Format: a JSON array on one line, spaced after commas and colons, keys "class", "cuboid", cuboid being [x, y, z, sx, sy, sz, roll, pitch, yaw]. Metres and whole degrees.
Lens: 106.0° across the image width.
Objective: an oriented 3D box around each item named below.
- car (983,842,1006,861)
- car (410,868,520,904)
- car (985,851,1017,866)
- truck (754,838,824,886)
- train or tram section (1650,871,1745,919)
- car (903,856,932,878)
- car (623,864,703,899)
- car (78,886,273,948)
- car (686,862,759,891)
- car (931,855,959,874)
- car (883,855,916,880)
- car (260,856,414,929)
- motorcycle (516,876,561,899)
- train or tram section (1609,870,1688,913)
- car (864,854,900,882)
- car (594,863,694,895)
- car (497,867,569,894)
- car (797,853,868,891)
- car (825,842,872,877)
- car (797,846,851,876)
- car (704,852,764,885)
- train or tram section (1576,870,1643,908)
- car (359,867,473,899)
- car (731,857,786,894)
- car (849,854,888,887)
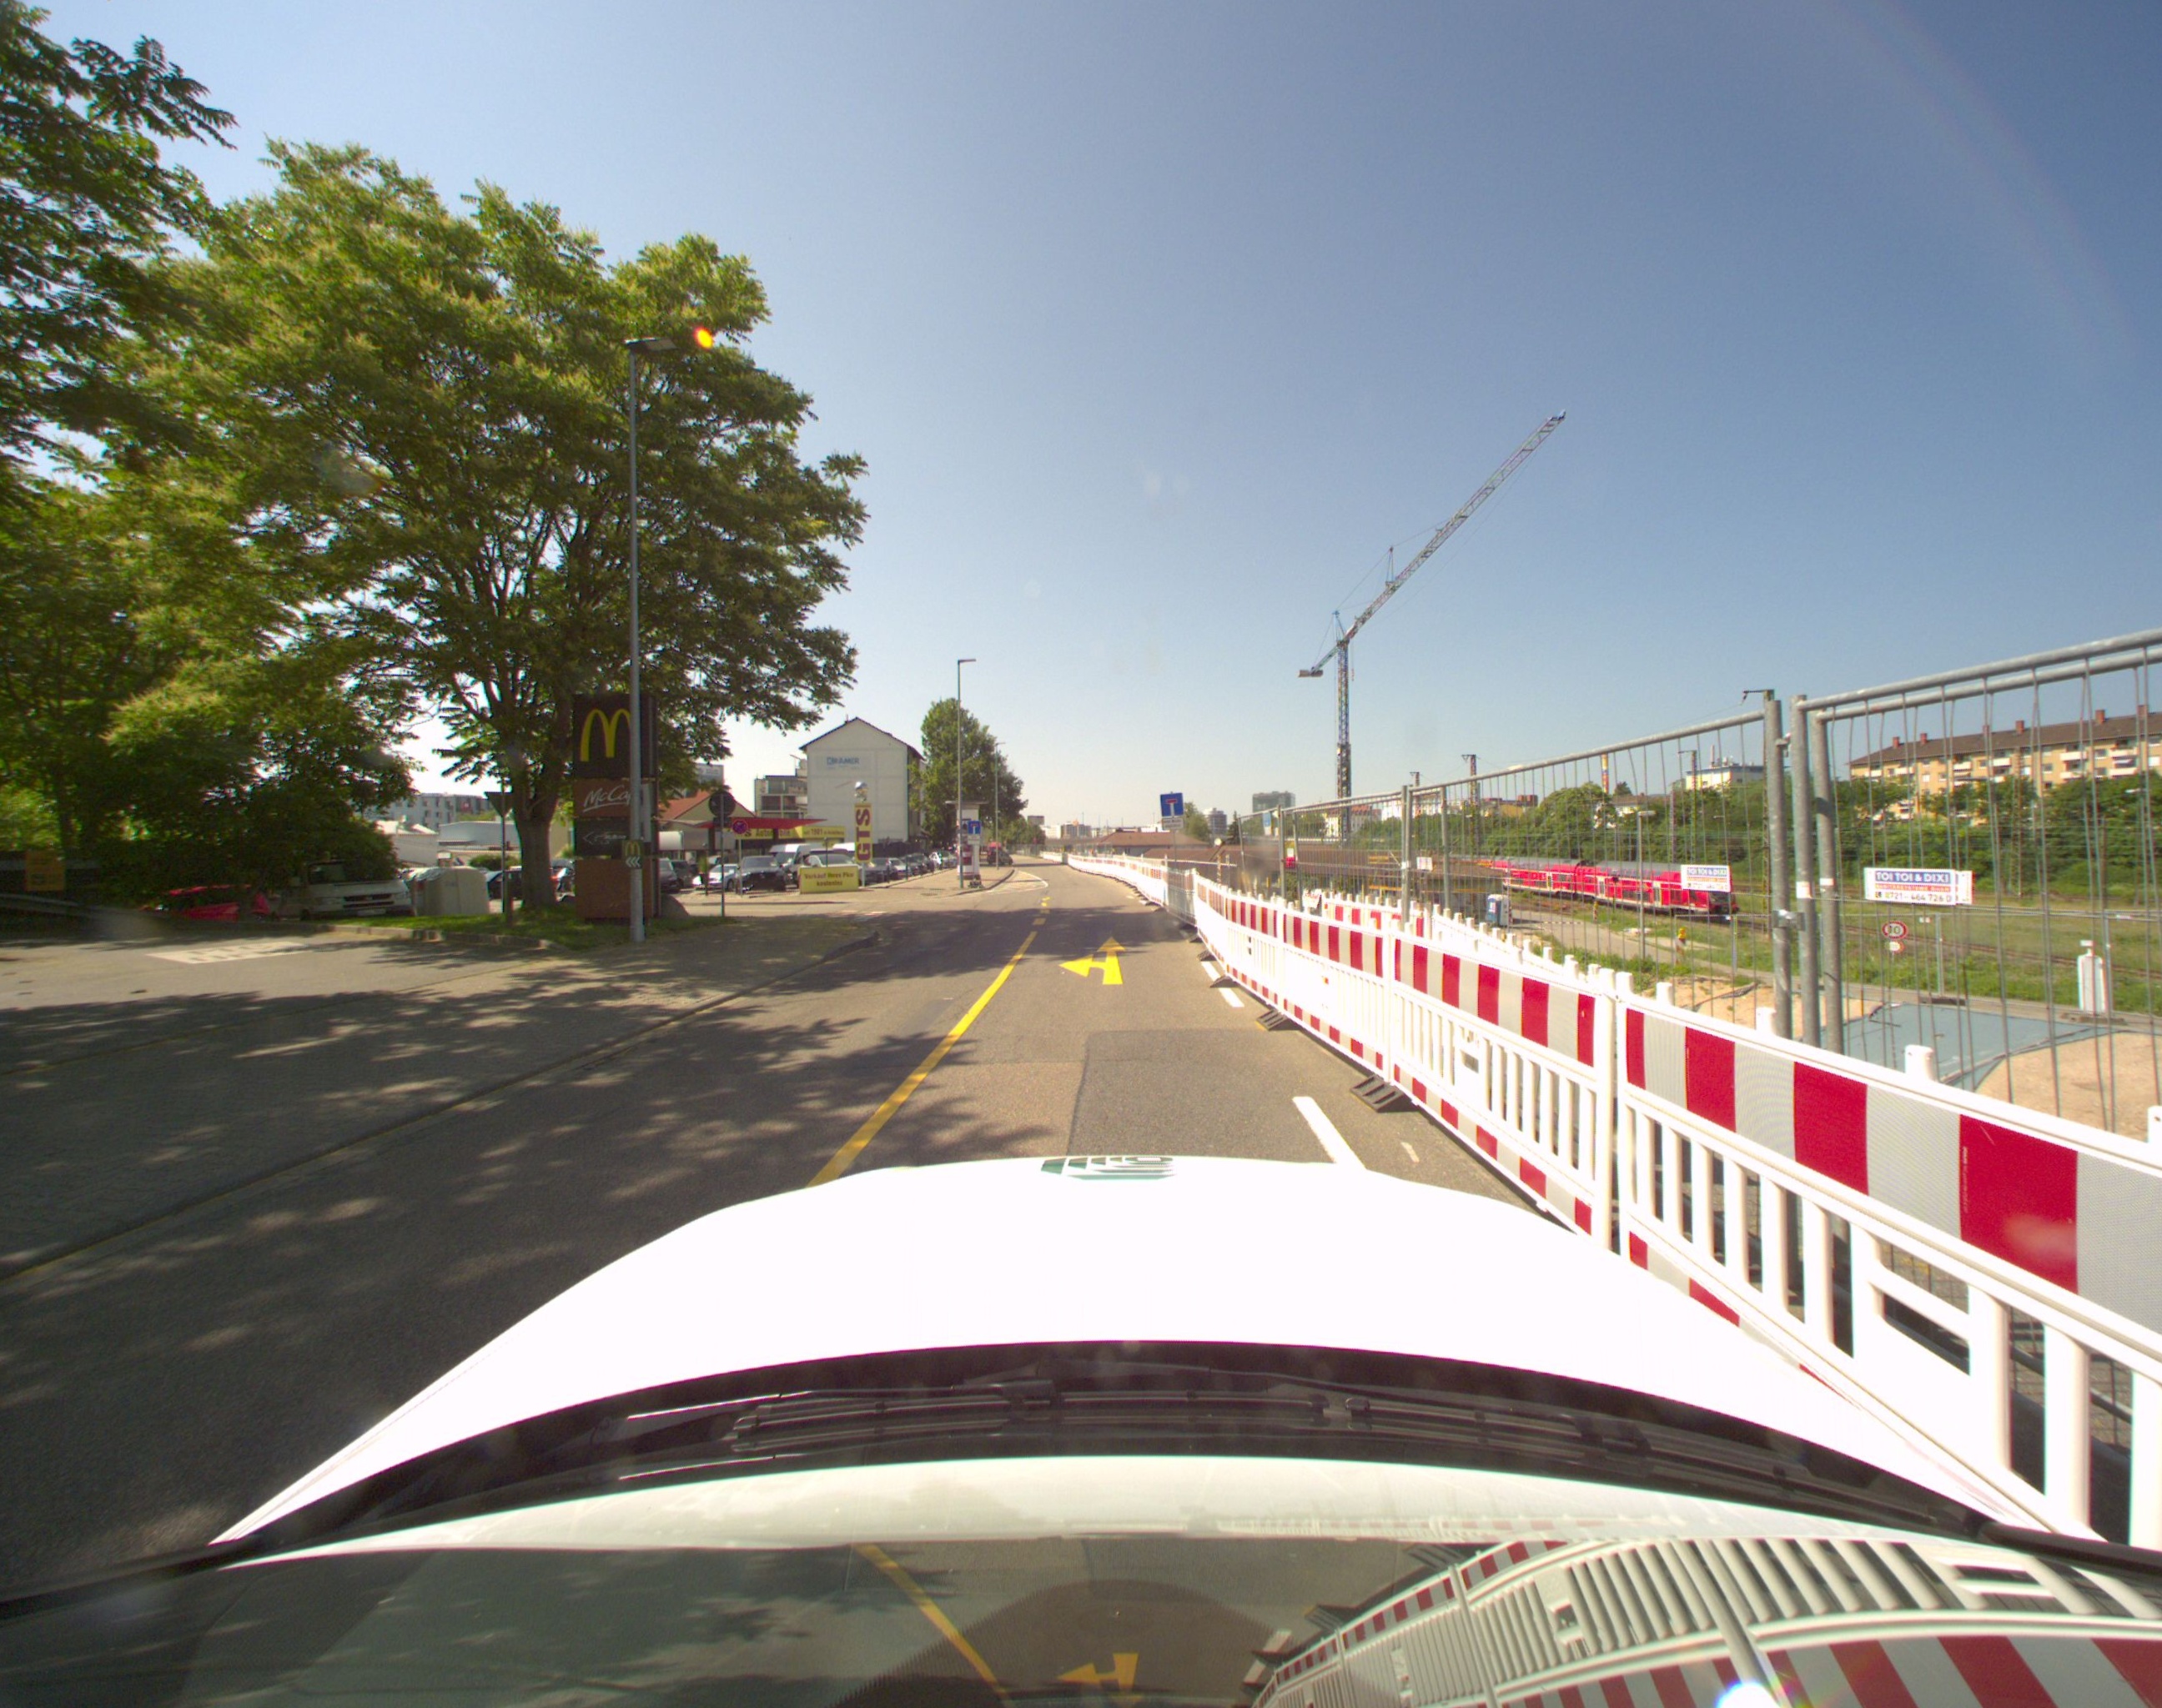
[{"class": "car", "cuboid": [-11.302, -0.298, 106.581, 2.531, 2.520, 5.113, 0, -1, -2]}, {"class": "car", "cuboid": [-31.558, 1.594, 41.858, 1.975, 1.706, 4.023, -1, -1, 26]}, {"class": "car", "cuboid": [-9.128, 0.525, 92.722, 3.299, 1.637, 1.705, 0, -1, -44]}, {"class": "truck", "cuboid": [-18.609, 0.471, 52.295, 2.261, 2.904, 5.943, 0, 0, 0]}, {"class": "train or tram section", "cuboid": [52.780, 3.356, 70.062, 2.994, 3.701, 9.002, 2, 0, 12]}, {"class": "car", "cuboid": [-12.797, 0.972, 63.632, 1.861, 1.629, 3.977, -1, 0, -17]}, {"class": "car", "cuboid": [-19.180, 1.223, 37.568, 1.784, 1.510, 3.995, 0, -1, -3]}, {"class": "car", "cuboid": [-25.571, 1.723, 23.131, 1.468, 1.378, 3.436, 1, 2, 28]}, {"class": "car", "cuboid": [-19.034, 1.175, 43.464, 1.779, 1.487, 4.006, 0, -1, 6]}, {"class": "car", "cuboid": [-11.994, 0.882, 71.604, 1.861, 1.629, 3.977, -1, 0, -17]}, {"class": "car", "cuboid": [-12.274, 0.872, 54.873, 1.861, 1.629, 3.977, -1, 0, -17]}, {"class": "car", "cuboid": [-18.644, 0.858, 20.329, 4.966, 1.583, 1.970, 0, 0, 37]}, {"class": "motorcycle", "cuboid": [-29.487, 1.820, 44.300, 0.779, 1.158, 1.886, -1, -1, 38]}, {"class": "train or tram section", "cuboid": [54.704, 3.511, 78.841, 2.994, 3.714, 9.002, 2, 0, 12]}, {"class": "car", "cuboid": [-12.071, 0.809, 49.279, 1.861, 1.629, 3.977, -1, 0, -17]}, {"class": "car", "cuboid": [-23.085, 1.264, 43.072, 4.357, 1.585, 1.976, 0, -1, -40]}, {"class": "car", "cuboid": [-33.444, 1.581, 49.699, 3.949, 1.585, 2.012, -1, -1, 28]}, {"class": "car", "cuboid": [-11.863, 0.837, 38.774, 2.009, 1.725, 3.955, 0, -1, -37]}, {"class": "car", "cuboid": [-15.871, 0.331, 55.897, 2.131, 2.284, 4.704, -1, 0, -4]}, {"class": "car", "cuboid": [-15.677, 0.430, 49.859, 1.872, 1.738, 4.720, 0, 0, -1]}, {"class": "car", "cuboid": [-21.893, 0.905, 51.537, 1.988, 2.014, 4.492, 0, -1, -2]}, {"class": "train or tram section", "cuboid": [56.668, 3.627, 87.619, 2.994, 3.712, 9.002, 2, 0, 12]}, {"class": "car", "cuboid": [-38.035, 1.632, 46.740, 1.977, 1.726, 4.677, -1, -1, 20]}, {"class": "car", "cuboid": [-14.688, 0.938, 37.000, 2.057, 1.594, 4.386, 0, -1, -25]}, {"class": "car", "cuboid": [-11.442, 0.848, 43.746, 1.861, 1.629, 3.977, -1, 0, -17]}]
